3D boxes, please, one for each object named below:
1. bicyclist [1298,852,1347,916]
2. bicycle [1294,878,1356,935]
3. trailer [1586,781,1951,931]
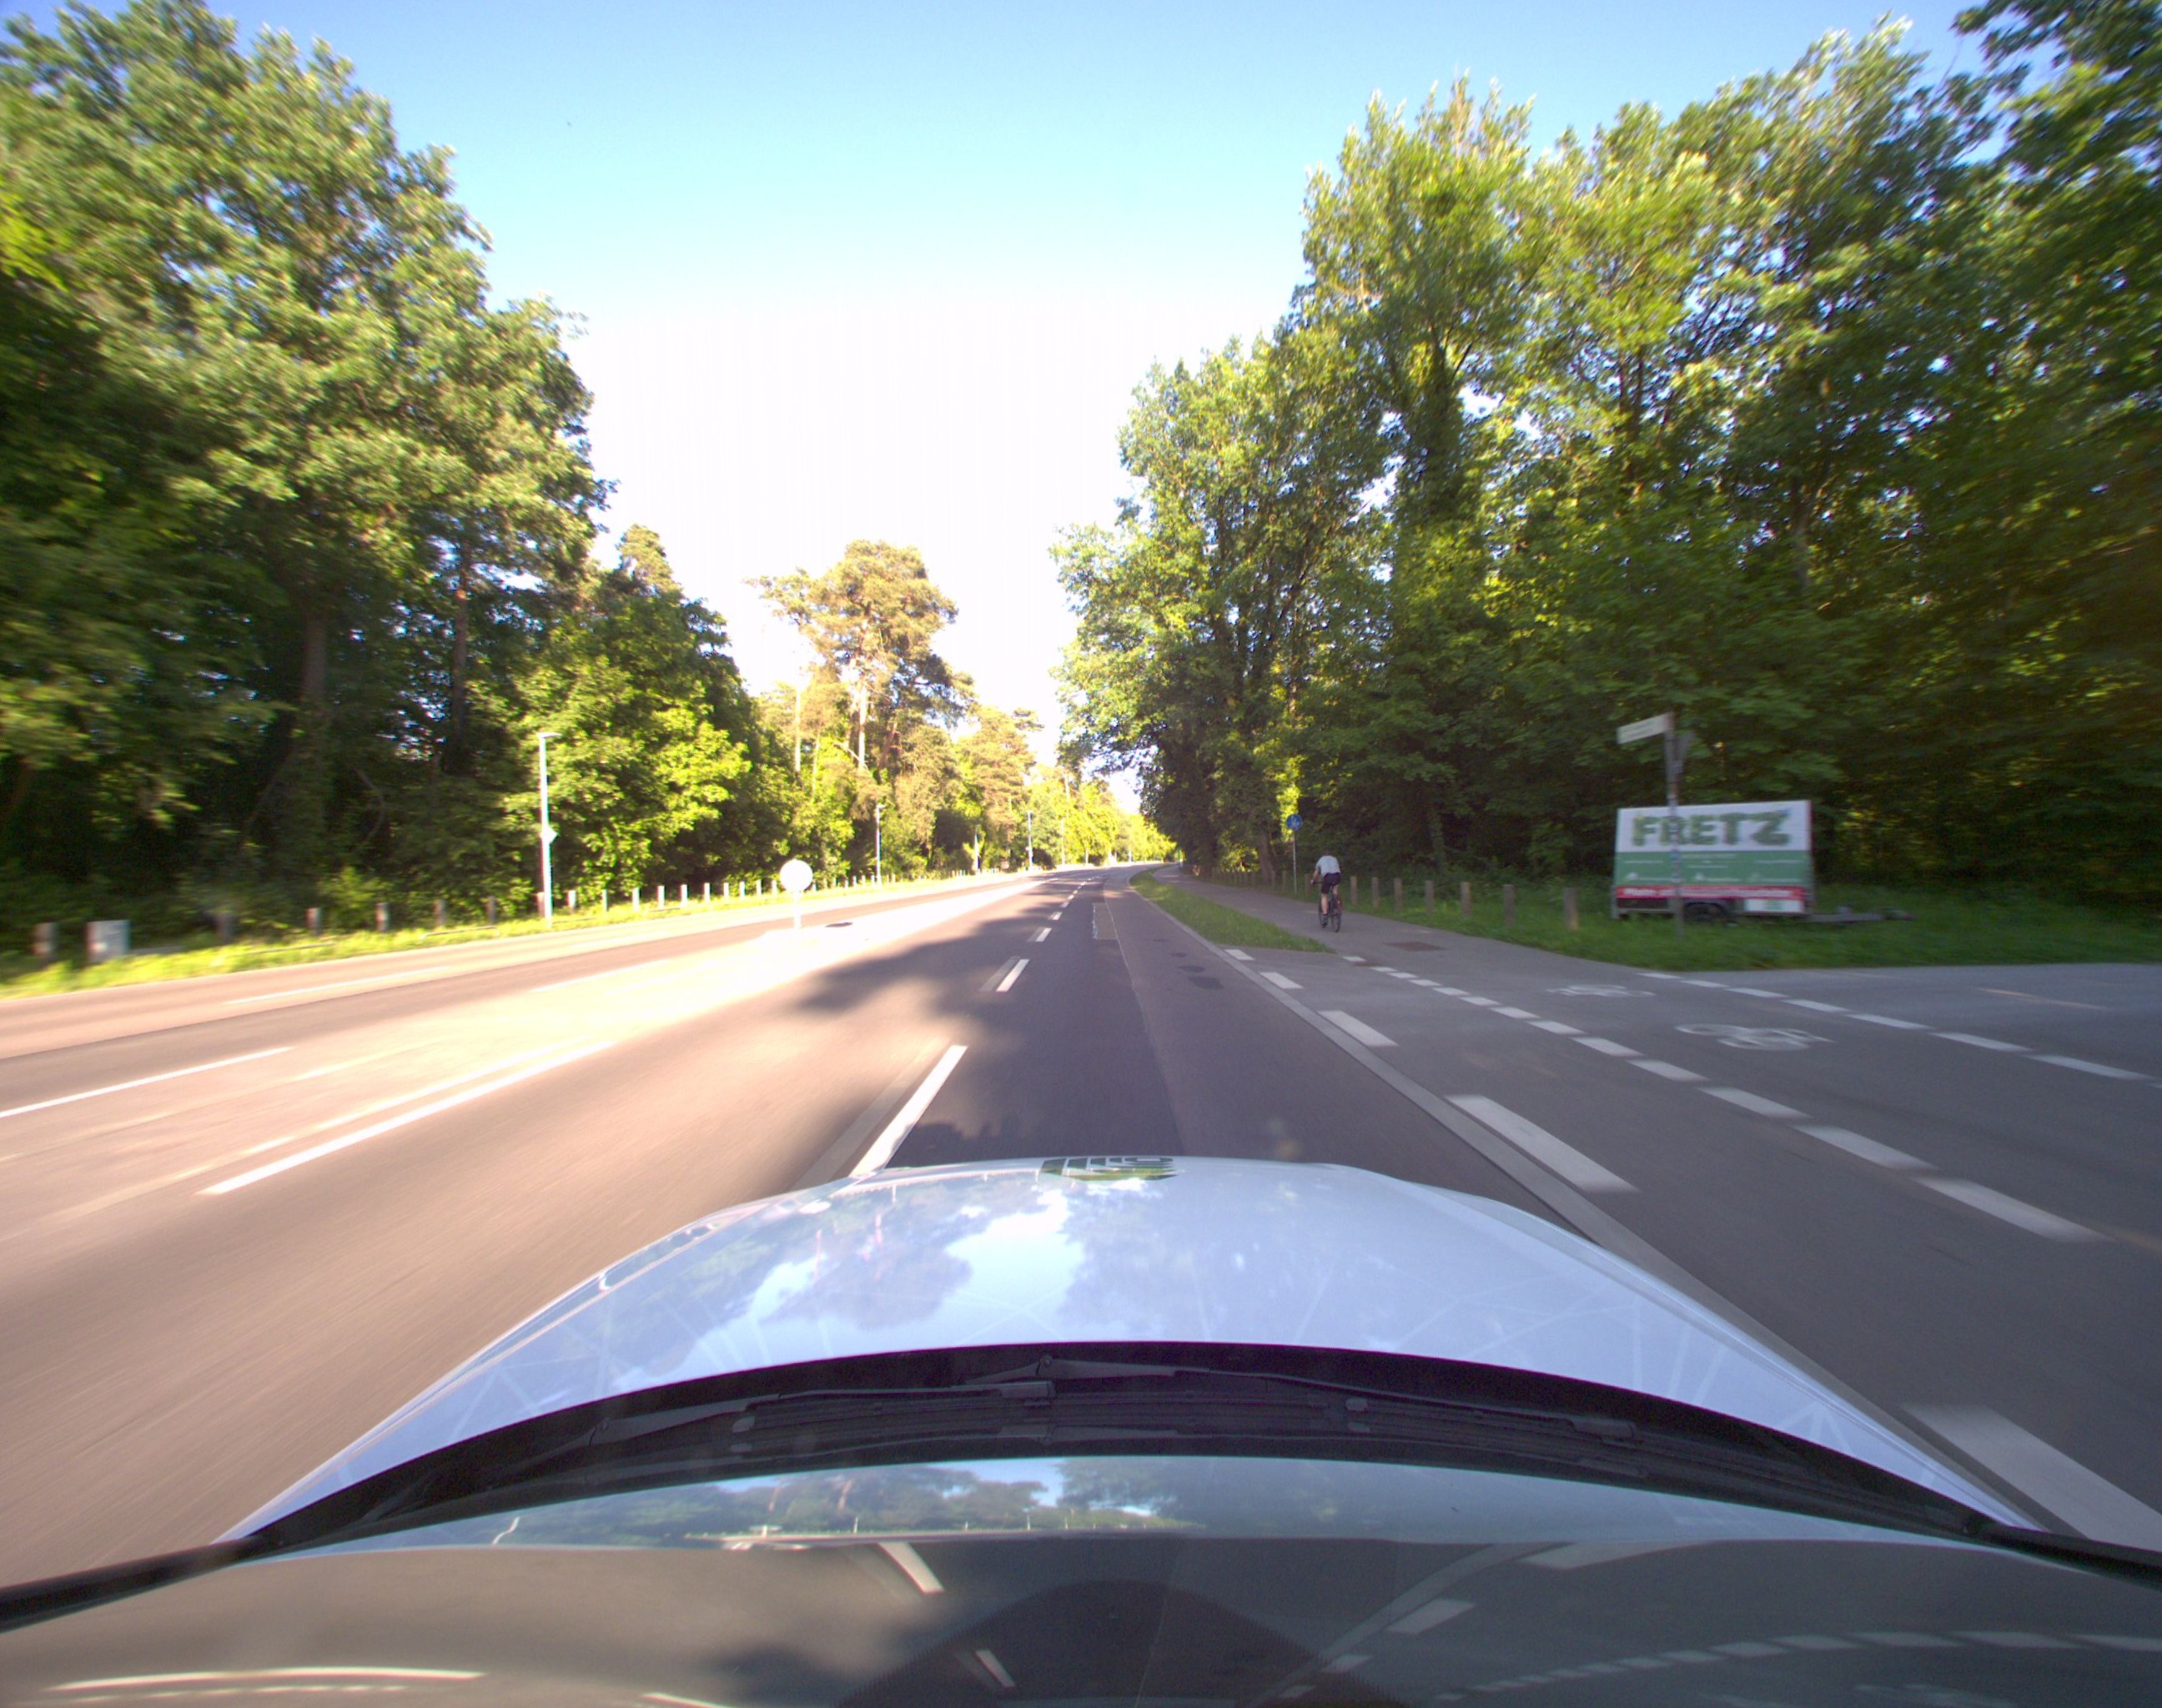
[{"bbox_3d":[5.047,0.608,17.086,0.709,1.289,1.105,-1,-1,1],"label":"bicyclist"},{"bbox_3d":[5.048,1.066,16.963,0.709,1.056,2.053,-1,0,2],"label":"bicycle"},{"bbox_3d":[10.819,0.074,13.148,4.173,2.021,2.012,-2,-1,42],"label":"trailer"}]
